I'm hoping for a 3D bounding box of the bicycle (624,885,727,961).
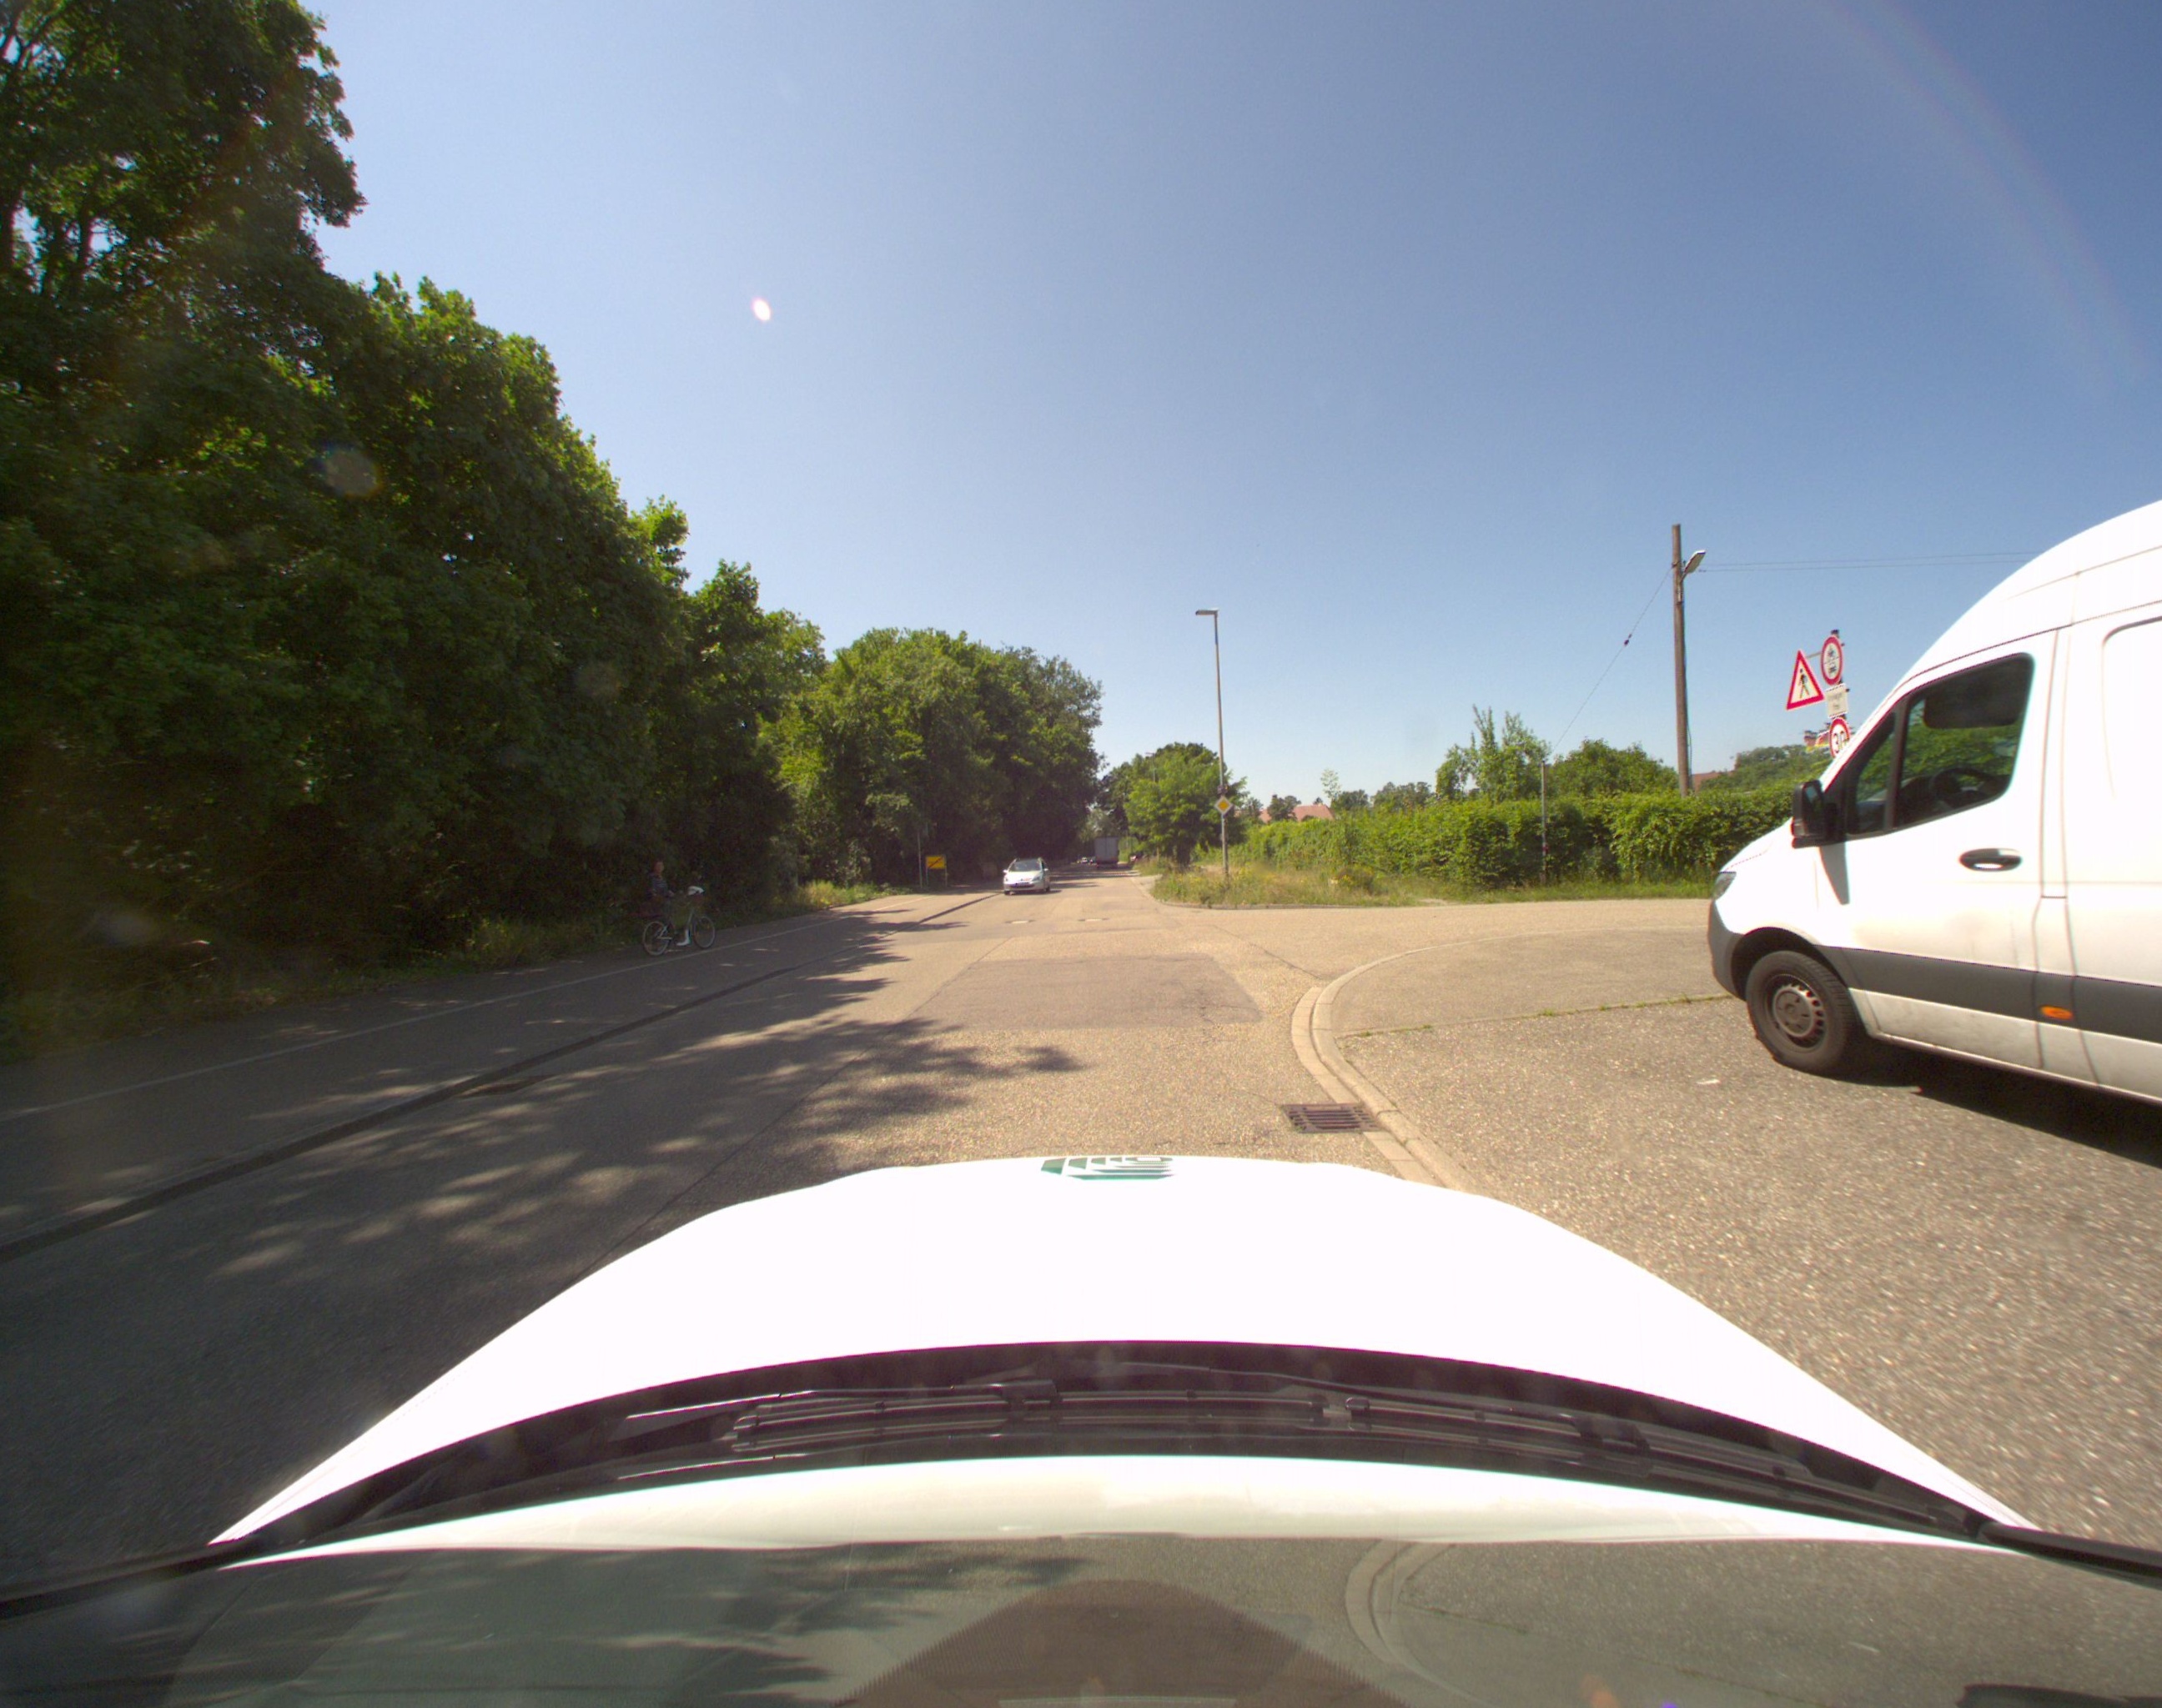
[{"bbox_3d":[-7.339,1.212,14.841,0.517,1.236,1.968,-1,0,14],"label":"bicycle"}]

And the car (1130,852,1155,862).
[{"bbox_3d":[10.662,0.488,141.542,4.179,1.445,1.740,-3,0,2],"label":"car"}]

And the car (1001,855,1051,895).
[{"bbox_3d":[-2.367,0.880,36.162,1.785,1.572,4.273,-2,0,1],"label":"car"}]

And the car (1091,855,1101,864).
[{"bbox_3d":[3.247,1.206,171.721,1.986,1.684,4.265,-3,0,2],"label":"car"}]

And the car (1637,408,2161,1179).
[{"bbox_3d":[4.765,-0.248,2.025,1.946,2.733,7.172,-5,0,3],"label":"car"}]

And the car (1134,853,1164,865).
[{"bbox_3d":[9.747,0.693,116.963,4.179,1.445,1.740,-3,0,2],"label":"car"}]

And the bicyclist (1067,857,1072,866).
[{"bbox_3d":[-2.300,1.515,163.614,0.829,1.716,0.958,-3,0,2],"label":"bicyclist"}]

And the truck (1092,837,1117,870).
[{"bbox_3d":[2.947,-0.078,99.617,2.723,3.745,13.253,-2,0,2],"label":"truck"}]

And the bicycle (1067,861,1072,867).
[{"bbox_3d":[-2.283,1.917,163.593,0.715,1.159,2.232,-3,0,2],"label":"bicycle"}]

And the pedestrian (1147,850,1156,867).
[{"bbox_3d":[7.688,0.501,88.744,0.736,1.738,0.885,-3,0,0],"label":"pedestrian"}]

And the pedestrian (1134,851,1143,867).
[{"bbox_3d":[6.214,0.570,87.648,0.860,1.677,0.885,-3,0,0],"label":"pedestrian"}]

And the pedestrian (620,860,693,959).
[{"bbox_3d":[-7.685,0.991,14.773,0.802,1.718,0.780,-2,0,17],"label":"pedestrian"}]
